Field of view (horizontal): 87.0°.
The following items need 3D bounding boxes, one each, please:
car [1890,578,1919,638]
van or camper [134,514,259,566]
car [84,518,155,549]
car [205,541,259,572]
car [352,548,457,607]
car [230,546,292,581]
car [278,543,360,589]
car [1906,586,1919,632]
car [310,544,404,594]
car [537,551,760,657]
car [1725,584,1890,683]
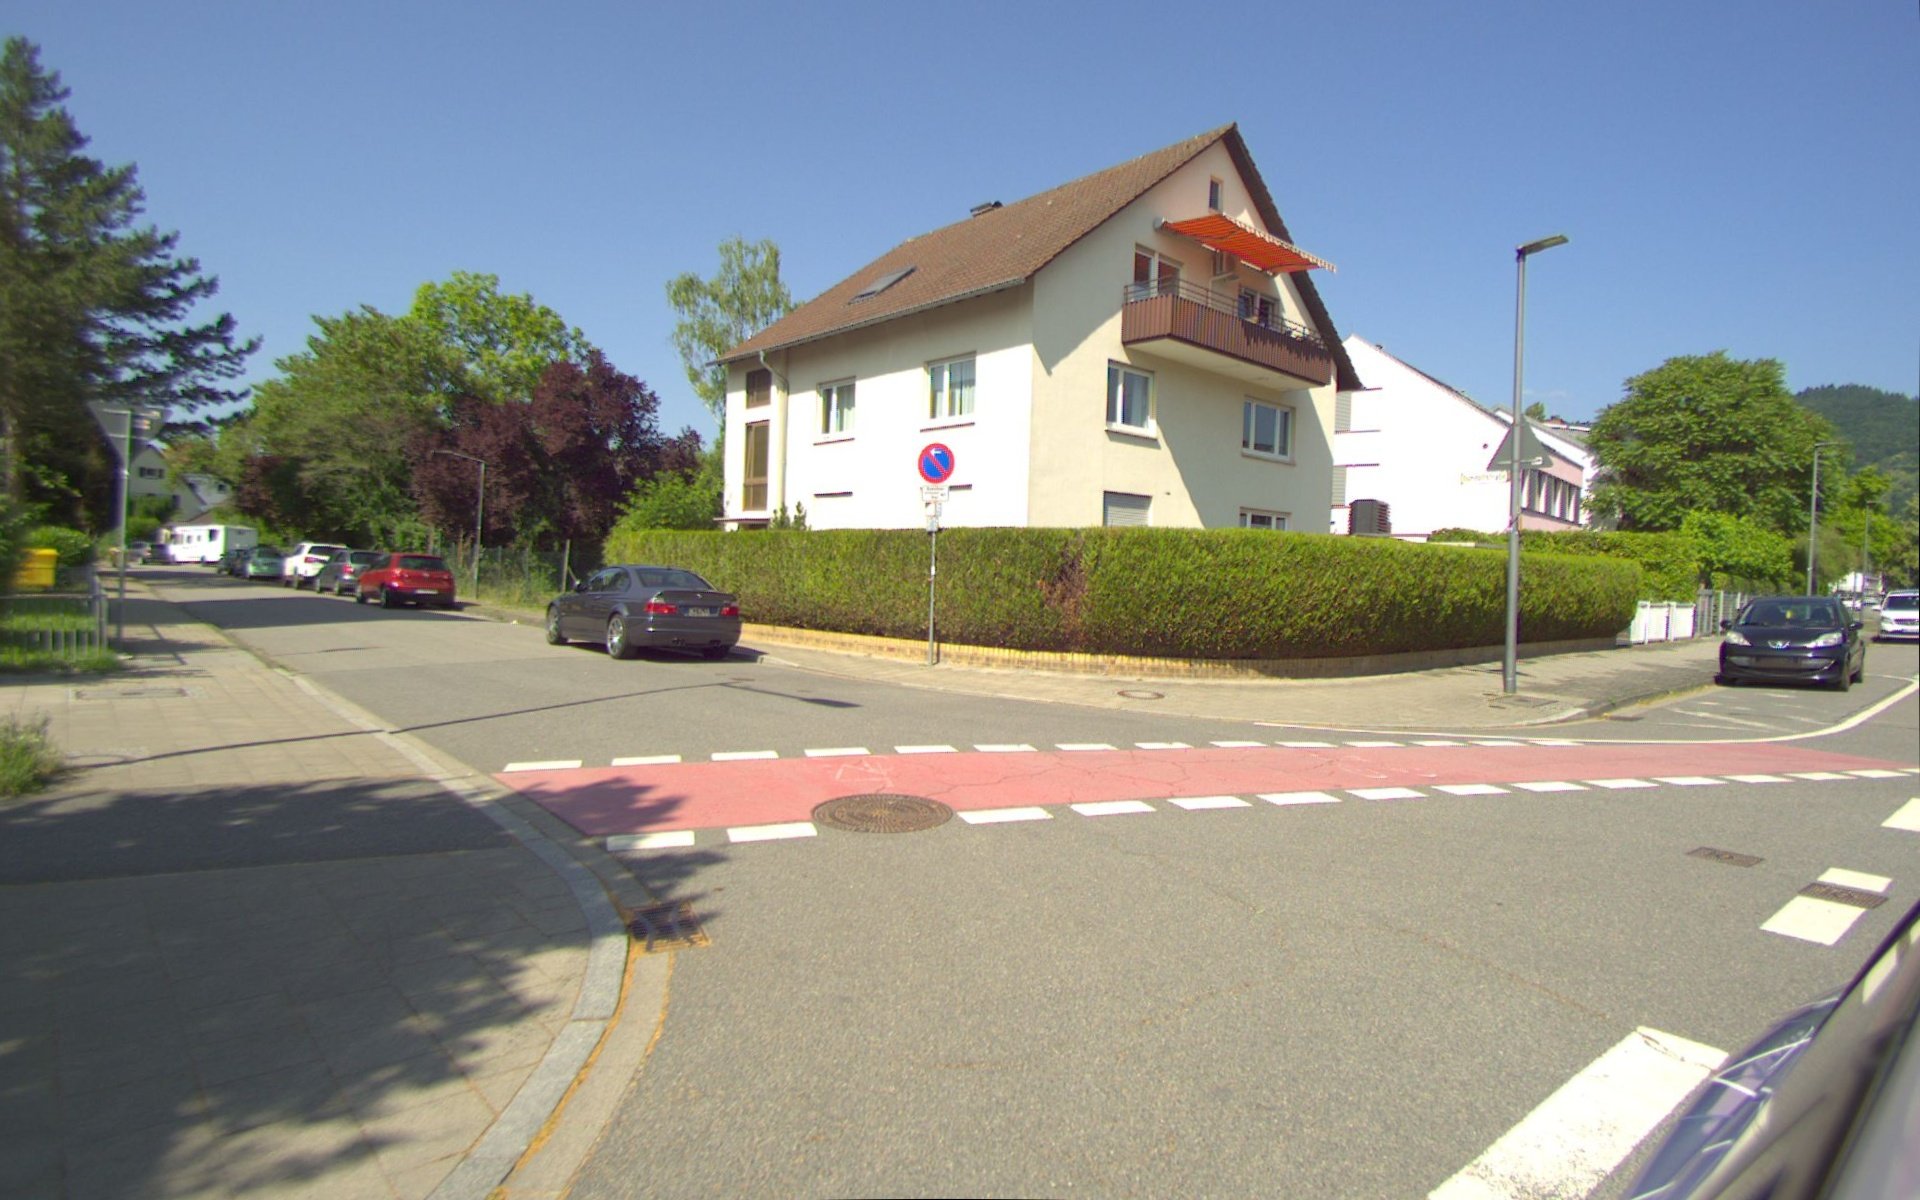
[{"bbox_3d":[32.287,0.208,33.693,1.763,1.849,4.525,0,1,45],"label":"car"},{"bbox_3d":[-53.609,-4.158,70.951,10.460,3.422,3.113,2,2,29],"label":"van or camper"},{"bbox_3d":[-67.038,-5.265,80.714,5.699,2.317,2.584,2,2,31],"label":"car"},{"bbox_3d":[-38.248,-2.288,53.143,1.884,1.523,3.993,0,2,-42],"label":"car"},{"bbox_3d":[-15.152,-0.652,27.513,1.620,1.473,3.993,0,2,-42],"label":"car"},{"bbox_3d":[-32.469,-1.724,46.969,1.884,1.523,3.993,0,2,-42],"label":"car"},{"bbox_3d":[-23.669,-1.272,37.316,1.884,1.575,3.993,0,2,-42],"label":"car"},{"bbox_3d":[36.323,0.327,37.440,1.763,1.613,4.243,3,2,45],"label":"car"},{"bbox_3d":[-19.797,-1.024,33.150,1.884,1.523,3.993,0,2,-42],"label":"car"},{"bbox_3d":[-4.982,0.007,15.830,1.779,1.415,4.124,3,1,-41],"label":"car"},{"bbox_3d":[14.176,0.483,16.851,3.933,1.407,1.618,-2,0,-43],"label":"car"}]
